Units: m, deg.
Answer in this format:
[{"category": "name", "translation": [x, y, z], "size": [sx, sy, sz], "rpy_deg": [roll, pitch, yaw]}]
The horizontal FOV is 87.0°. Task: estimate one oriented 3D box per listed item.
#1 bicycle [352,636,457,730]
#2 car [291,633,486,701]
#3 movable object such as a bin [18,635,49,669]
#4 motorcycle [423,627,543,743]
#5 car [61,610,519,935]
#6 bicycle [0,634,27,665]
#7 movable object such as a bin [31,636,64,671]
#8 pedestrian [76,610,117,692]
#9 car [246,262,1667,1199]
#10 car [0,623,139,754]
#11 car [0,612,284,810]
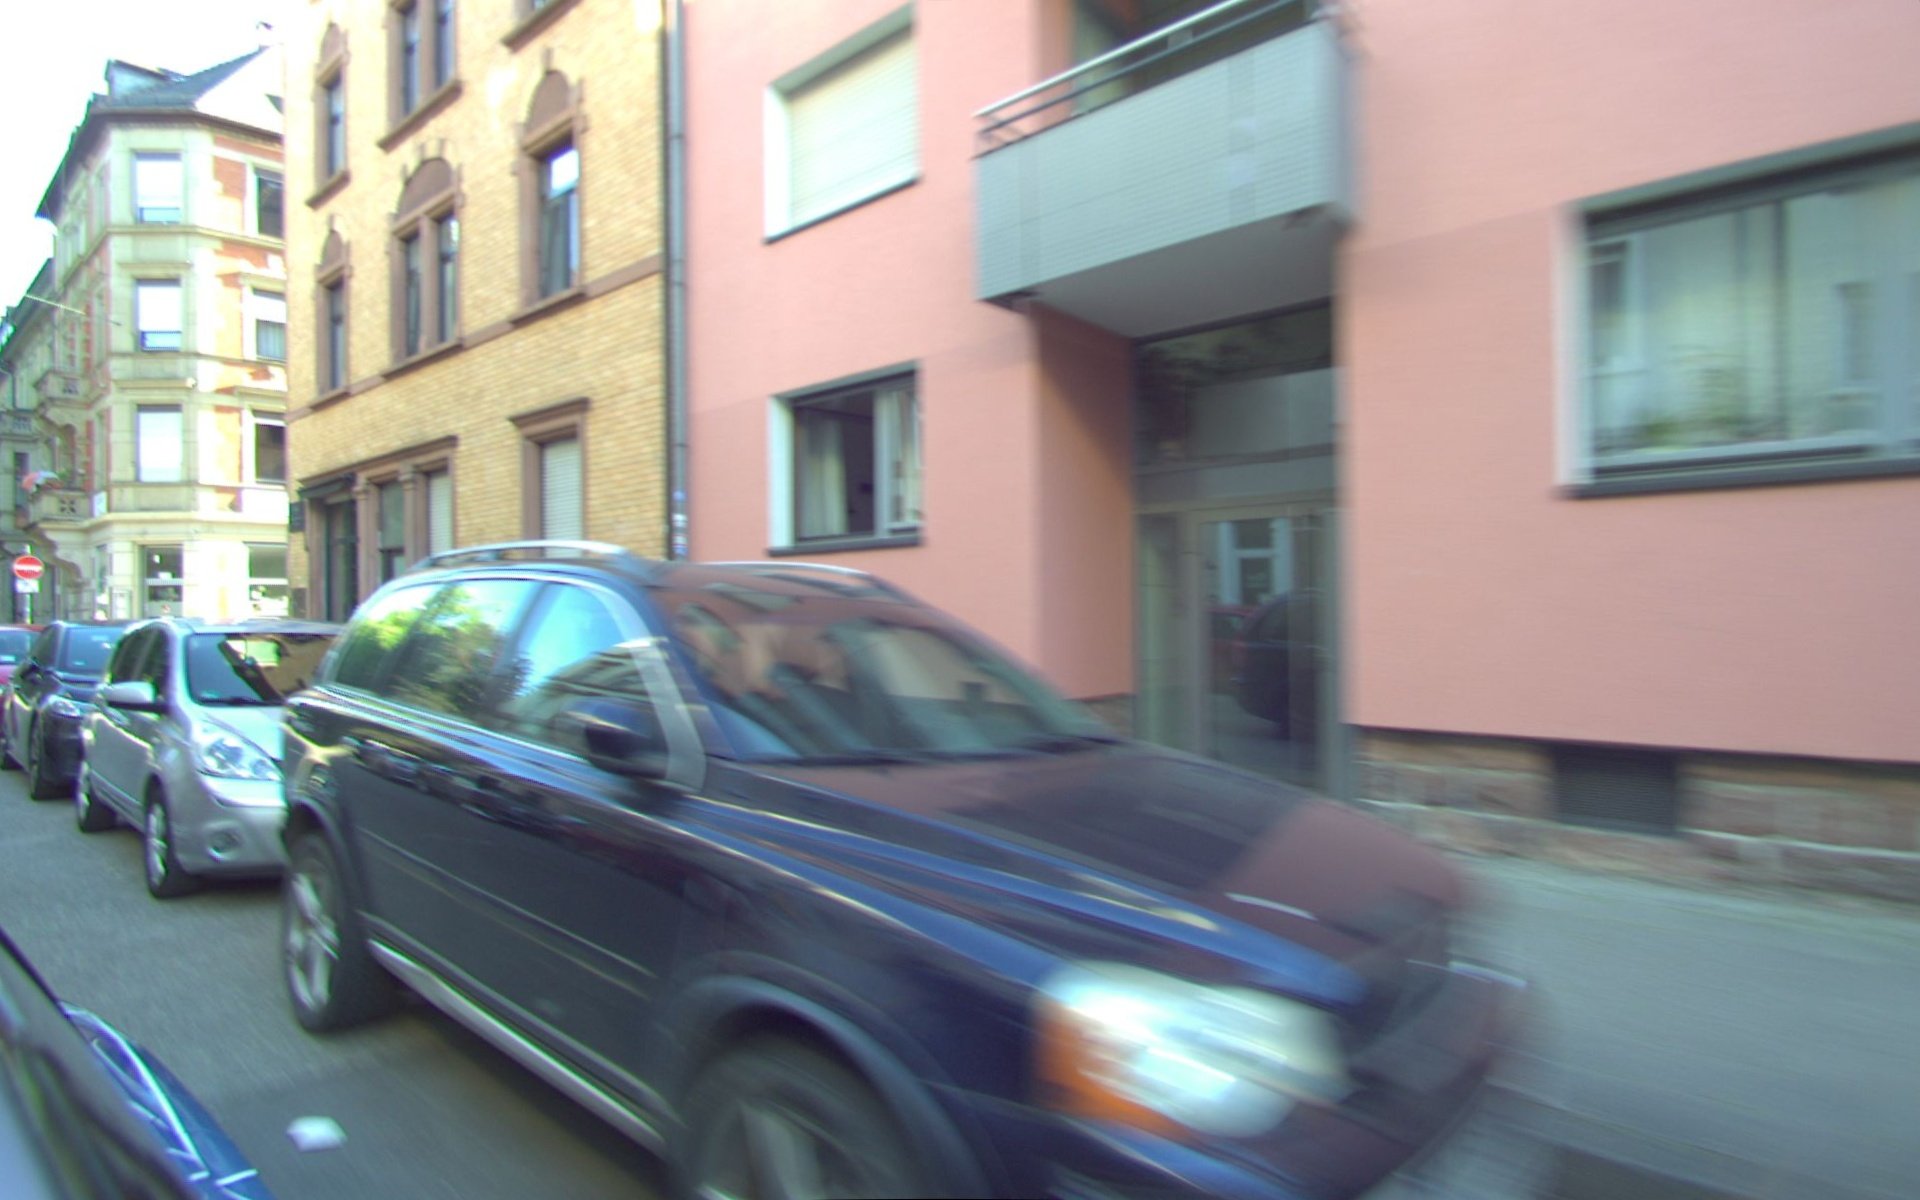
[{"category": "bicycle", "translation": [-7.197, 1.039, 13.068], "size": [1.890, 1.082, 0.528], "rpy_deg": [-2, 3, 42]}, {"category": "car", "translation": [-15.736, 1.779, 27.994], "size": [4.375, 1.542, 1.869], "rpy_deg": [0, 1, -44]}, {"category": "movable object such as a bin", "translation": [-30.282, 1.698, 33.082], "size": [0.856, 1.049, 0.631], "rpy_deg": [-2, 1, 41]}, {"category": "motorcycle", "translation": [-5.443, 0.921, 11.498], "size": [1.908, 1.215, 0.527], "rpy_deg": [-2, -1, 42]}, {"category": "car", "translation": [-4.629, 0.890, 6.750], "size": [3.944, 1.533, 1.638], "rpy_deg": [-2, -3, 43]}, {"category": "bicycle", "translation": [-34.388, 1.781, 36.726], "size": [1.545, 1.049, 0.565], "rpy_deg": [-1, 1, 41]}, {"category": "movable object such as a bin", "translation": [-28.549, 1.660, 31.657], "size": [0.856, 1.049, 0.631], "rpy_deg": [-2, 1, 41]}, {"category": "pedestrian", "translation": [-18.049, 1.040, 21.146], "size": [0.717, 1.656, 0.542], "rpy_deg": [1, 1, 41]}, {"category": "car", "translation": [-0.676, 0.632, 3.288], "size": [4.672, 1.825, 1.724], "rpy_deg": [-2, -3, 43]}, {"category": "car", "translation": [-12.030, 1.060, 13.033], "size": [3.598, 1.492, 1.611], "rpy_deg": [-2, -3, 41]}, {"category": "car", "translation": [-8.169, 0.941, 9.883], "size": [4.095, 1.533, 1.677], "rpy_deg": [-2, -3, 43]}]
